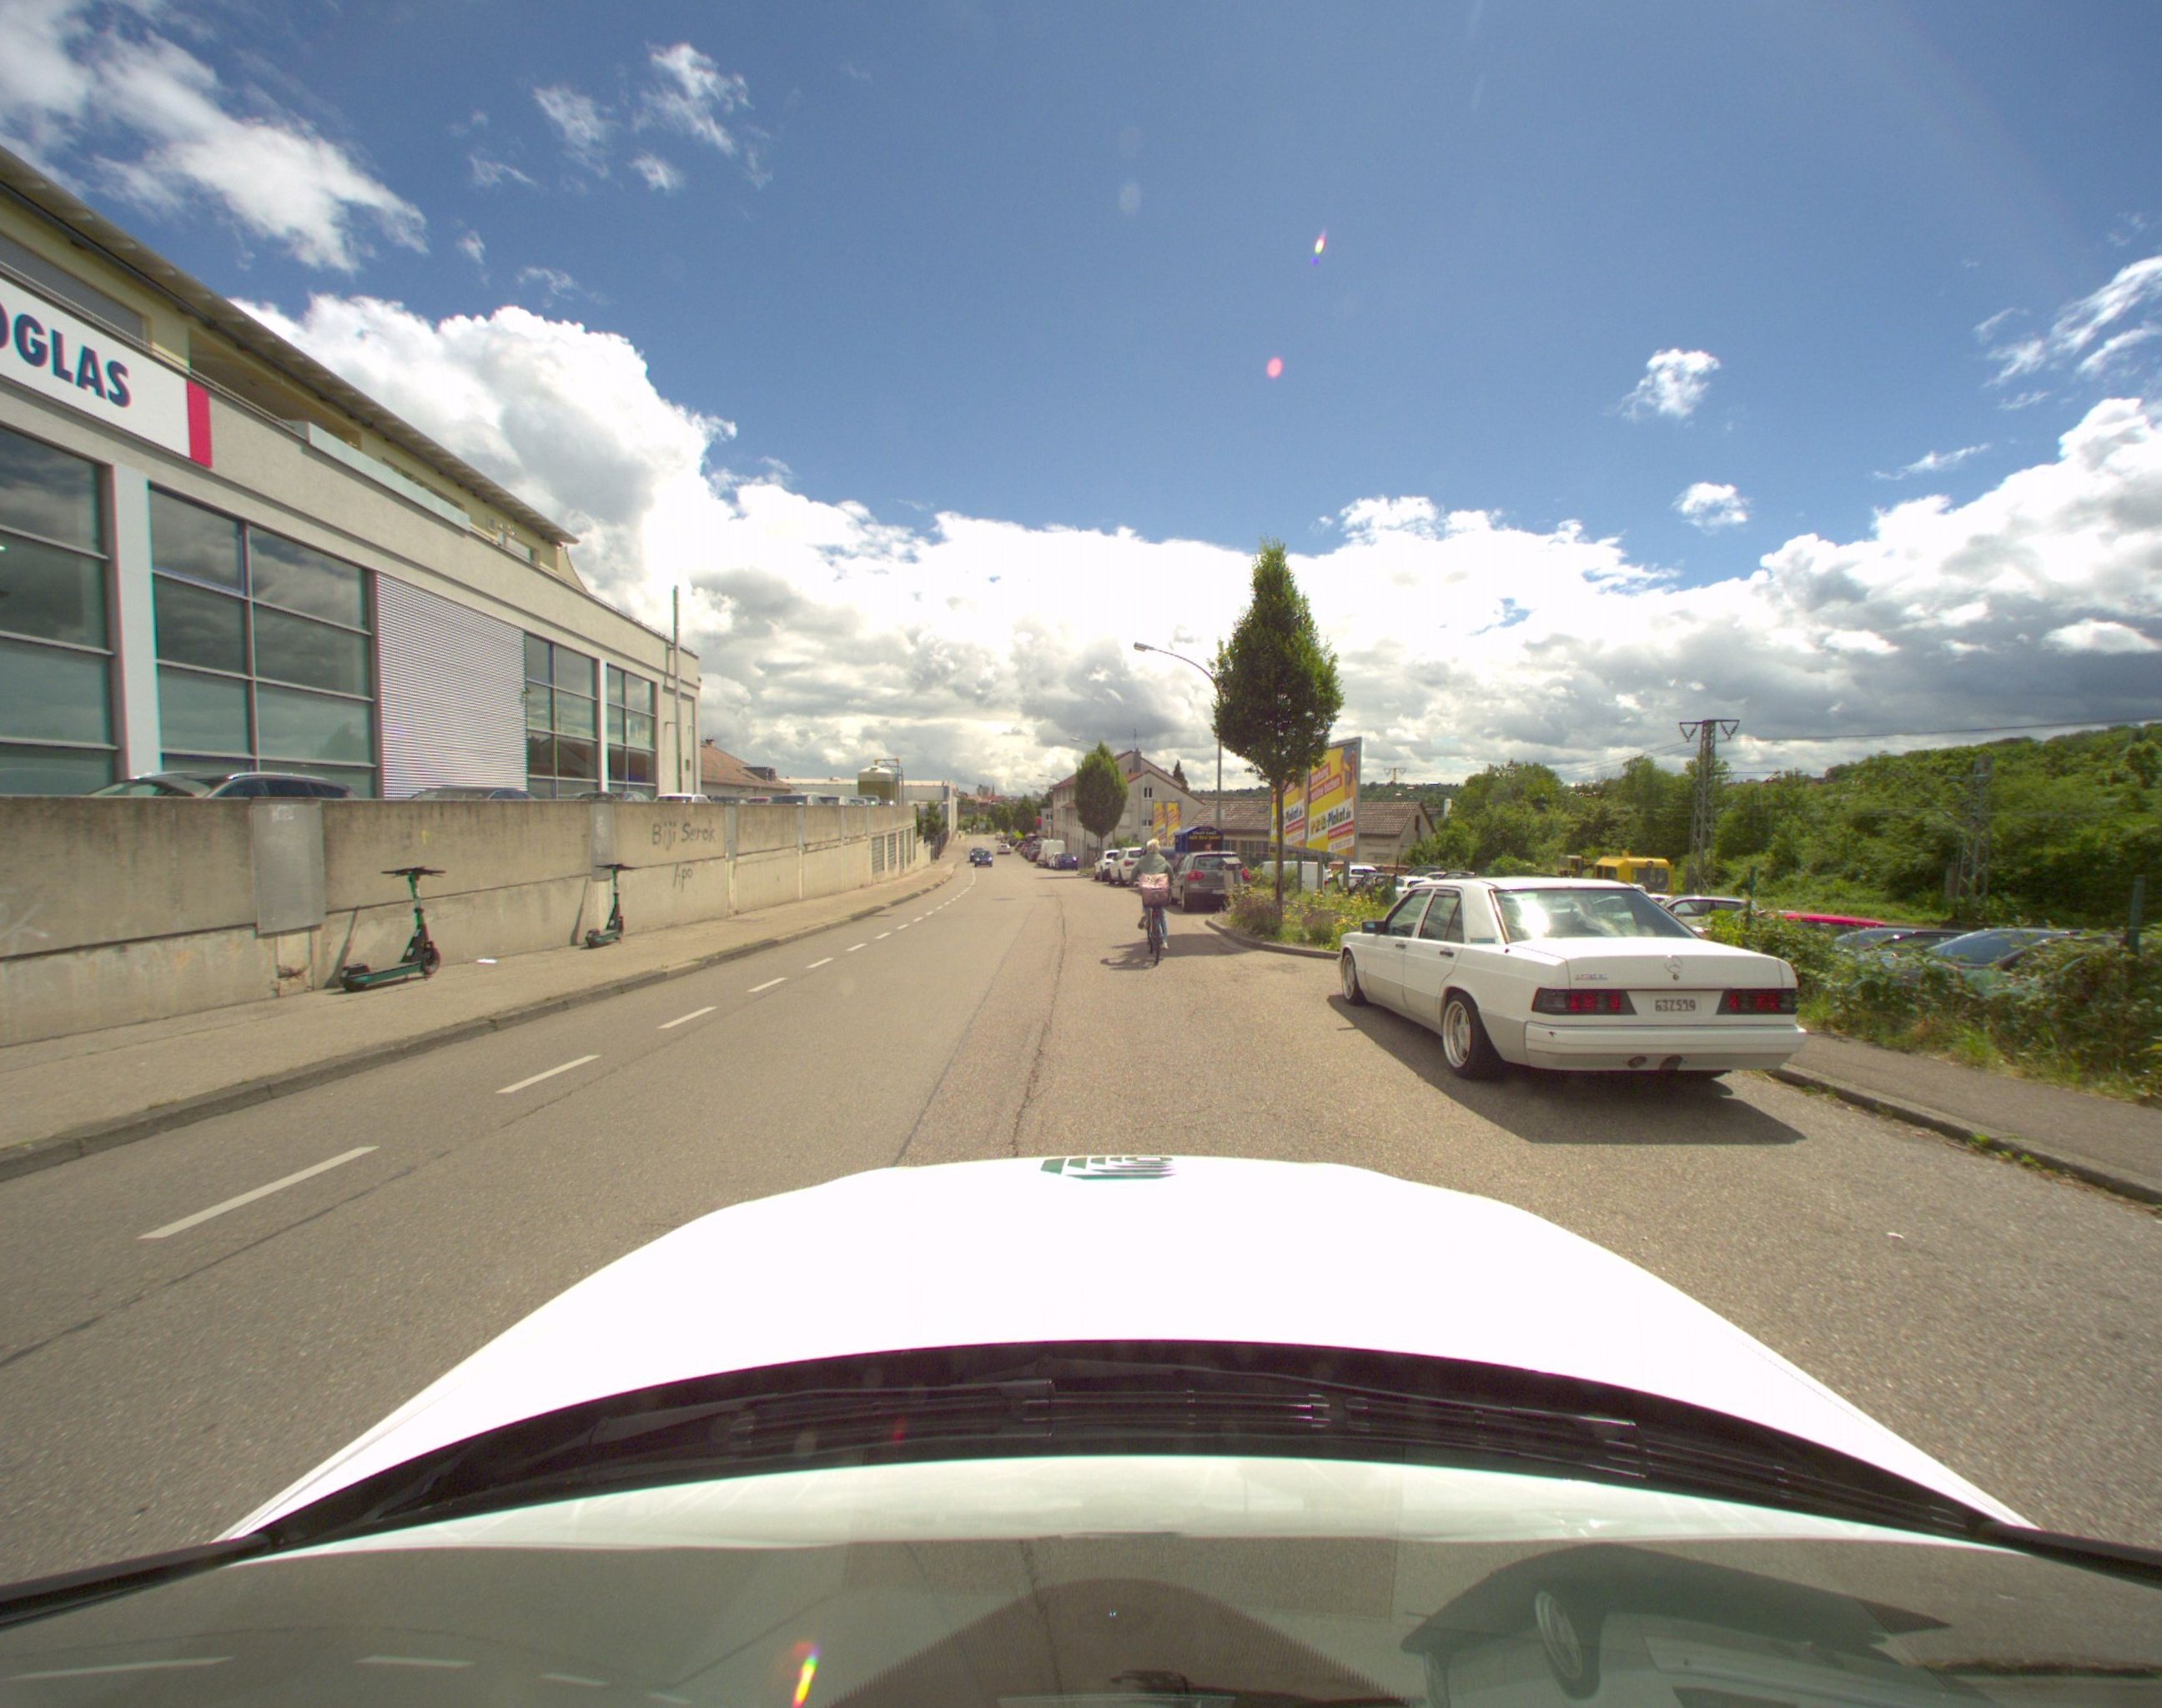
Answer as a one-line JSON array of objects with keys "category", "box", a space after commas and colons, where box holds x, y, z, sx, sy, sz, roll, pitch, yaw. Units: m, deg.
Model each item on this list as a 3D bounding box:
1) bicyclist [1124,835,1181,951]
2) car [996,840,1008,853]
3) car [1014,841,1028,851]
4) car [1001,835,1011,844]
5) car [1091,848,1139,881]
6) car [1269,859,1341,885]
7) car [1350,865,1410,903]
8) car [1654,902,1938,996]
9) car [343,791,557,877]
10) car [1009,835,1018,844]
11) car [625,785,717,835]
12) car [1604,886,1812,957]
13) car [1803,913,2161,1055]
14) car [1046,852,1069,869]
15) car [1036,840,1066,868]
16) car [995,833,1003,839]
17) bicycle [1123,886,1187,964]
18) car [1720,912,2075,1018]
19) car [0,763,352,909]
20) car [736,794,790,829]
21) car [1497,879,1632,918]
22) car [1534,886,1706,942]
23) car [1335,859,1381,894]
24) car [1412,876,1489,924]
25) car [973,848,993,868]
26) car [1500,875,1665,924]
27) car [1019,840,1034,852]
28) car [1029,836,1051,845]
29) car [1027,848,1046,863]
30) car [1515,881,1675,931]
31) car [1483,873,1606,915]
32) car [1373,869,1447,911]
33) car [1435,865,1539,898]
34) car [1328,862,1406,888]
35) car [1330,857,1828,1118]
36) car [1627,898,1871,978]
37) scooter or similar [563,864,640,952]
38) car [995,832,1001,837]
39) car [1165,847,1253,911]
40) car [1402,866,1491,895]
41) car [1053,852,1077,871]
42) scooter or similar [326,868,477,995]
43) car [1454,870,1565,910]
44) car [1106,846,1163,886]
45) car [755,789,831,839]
[{"category": "bicyclist", "box": [1.026, 0.545, 11.813, 0.738, 1.626, 0.731, 0, 0, -3]}, {"category": "car", "box": [-11.053, -1.096, 114.008, 1.566, 1.786, 3.595, 0, 0, -8]}, {"category": "car", "box": [-9.579, -1.286, 128.936, 1.791, 1.465, 4.694, 0, 1, -9]}, {"category": "car", "box": [-15.590, -3.039, 169.883, 1.868, 1.990, 5.130, 0, 1, -8]}, {"category": "car", "box": [1.694, 0.520, 42.042, 1.839, 1.565, 4.457, -2, 0, -6]}, {"category": "car", "box": [14.058, 1.110, 51.177, 3.993, 1.390, 1.755, 2, 3, 42]}, {"category": "car", "box": [14.350, 1.388, 39.275, 1.802, 1.621, 4.473, -2, 0, 8]}, {"category": "car", "box": [13.987, 1.800, 16.275, 3.949, 1.486, 1.824, 0, 0, 28]}, {"category": "car", "box": [-13.306, -0.374, 17.539, 1.805, 1.636, 4.102, 0, 0, -8]}, {"category": "car", "box": [-12.864, -2.717, 155.264, 1.677, 1.638, 4.114, 0, 1, -6]}, {"category": "car", "box": [-15.171, -1.570, 30.397, 1.805, 1.636, 4.102, 0, 0, -8]}, {"category": "car", "box": [15.740, 1.642, 20.730, 3.949, 1.540, 1.799, 0, 0, 28]}, {"category": "car", "box": [13.097, 1.742, 11.515, 3.954, 1.635, 1.725, 0, 0, 19]}, {"category": "car", "box": [-2.103, 0.590, 73.166, 1.592, 1.510, 3.778, 0, 0, -9]}, {"category": "car", "box": [-2.987, -0.007, 79.204, 2.033, 2.641, 7.259, 0, 0, -9]}, {"category": "car", "box": [-21.575, -4.668, 213.451, 1.702, 1.527, 3.724, 3, 1, -12]}, {"category": "bicycle", "box": [1.035, 0.992, 11.796, 0.738, 0.975, 1.731, 0, 0, -1]}, {"category": "car", "box": [13.663, 1.809, 13.937, 3.955, 1.445, 1.684, 0, 0, 18]}, {"category": "car", "box": [-12.519, -0.198, 11.113, 1.805, 1.636, 4.102, 0, 0, -8]}, {"category": "car", "box": [-17.032, -2.244, 43.823, 1.805, 1.636, 4.102, 0, 0, -8]}, {"category": "car", "box": [17.848, 1.637, 30.235, 3.959, 1.330, 1.762, 0, 0, 13]}, {"category": "car", "box": [15.360, 1.669, 23.451, 3.986, 1.354, 1.749, 0, 0, 31]}, {"category": "car", "box": [15.086, 1.172, 44.592, 1.738, 1.684, 4.694, -2, 1, 11]}, {"category": "car", "box": [13.344, 1.620, 29.642, 1.683, 1.446, 4.167, 1, 0, 11]}, {"category": "car", "box": [-9.453, 0.365, 78.240, 1.626, 1.817, 3.767, -1, 0, -10]}, {"category": "car", "box": [17.184, 1.542, 28.126, 4.418, 1.554, 2.006, 0, 0, 11]}, {"category": "car", "box": [-7.528, -1.098, 112.746, 1.733, 1.472, 4.251, 0, 2, -8]}, {"category": "car", "box": [-7.493, -2.486, 149.567, 4.024, 1.462, 1.736, -1, 3, 43]}, {"category": "car", "box": [-5.241, 0.127, 95.362, 1.704, 1.509, 5.073, 2, 2, -9]}, {"category": "car", "box": [16.119, 1.599, 25.764, 3.955, 1.442, 1.745, 0, 0, 17]}, {"category": "car", "box": [18.467, 1.569, 32.631, 3.959, 1.559, 1.829, 0, 0, 13]}, {"category": "car", "box": [13.843, 1.475, 34.582, 1.742, 1.517, 4.591, -2, 0, 7]}, {"category": "car", "box": [18.736, 1.263, 37.724, 4.001, 1.390, 1.750, -2, 0, 13]}, {"category": "car", "box": [16.687, 1.249, 47.527, 3.991, 1.390, 1.534, -2, 0, 31]}, {"category": "car", "box": [3.373, 0.740, 6.579, 1.631, 1.387, 4.208, 0, 0, 3]}, {"category": "car", "box": [14.651, 1.794, 18.173, 3.949, 1.451, 1.755, 0, 0, 28]}, {"category": "scooter or similar", "box": [-7.491, 0.818, 12.784, 0.519, 1.276, 1.379, 2, 0, -9]}, {"category": "car", "box": [-22.930, -5.392, 224.160, 1.699, 1.527, 3.730, 0, 2, -6]}, {"category": "car", "box": [3.281, 0.598, 21.560, 1.650, 1.485, 4.043, -2, 0, 0]}, {"category": "car", "box": [19.375, 1.424, 43.355, 4.139, 1.390, 1.799, -2, 0, 19]}, {"category": "car", "box": [-1.366, 0.626, 68.182, 1.566, 1.510, 4.082, 0, 0, -8]}, {"category": "scooter or similar", "box": [-7.447, 0.807, 8.994, 0.555, 1.276, 1.306, 0, 0, 1]}, {"category": "car", "box": [18.522, 1.544, 35.366, 3.959, 1.612, 1.803, 0, 0, 13]}, {"category": "car", "box": [2.306, 0.488, 36.180, 1.684, 1.659, 4.469, -1, 0, -7]}, {"category": "car", "box": [-10.631, -1.415, 30.354, 1.804, 1.636, 4.095, 0, 0, -7]}]
